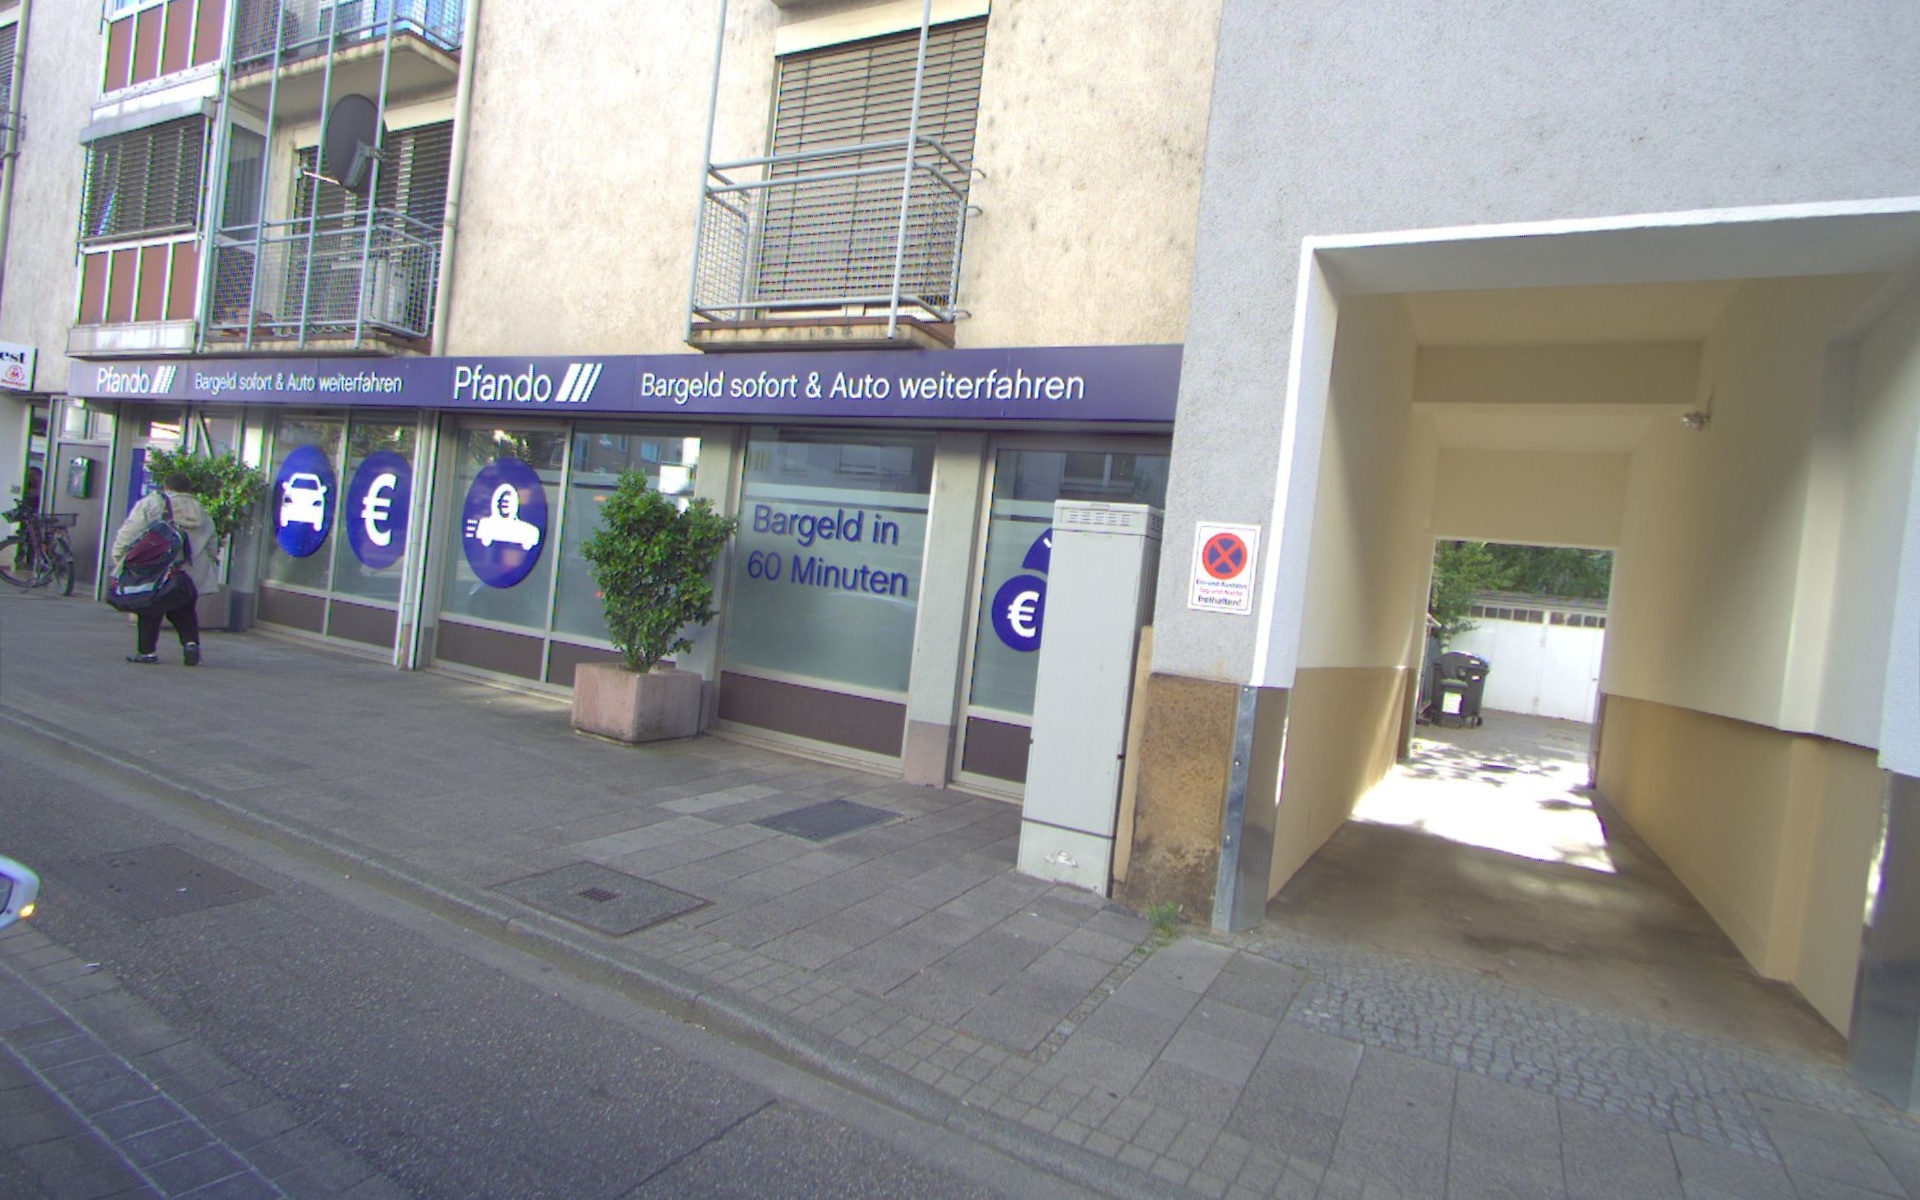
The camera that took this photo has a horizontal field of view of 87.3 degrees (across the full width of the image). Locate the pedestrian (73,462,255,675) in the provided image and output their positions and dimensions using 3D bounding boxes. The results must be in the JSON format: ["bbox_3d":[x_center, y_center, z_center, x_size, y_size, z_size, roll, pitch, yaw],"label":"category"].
[{"bbox_3d":[-6.562,-0.246,8.314,0.738,1.611,0.827,6,-1,31],"label":"pedestrian"}]

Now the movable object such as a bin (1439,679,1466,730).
[{"bbox_3d":[9.494,2.011,19.398,0.365,0.920,0.420,7,2,28],"label":"movable object such as a bin"}]

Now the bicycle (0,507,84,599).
[{"bbox_3d":[-11.886,-0.622,12.816,1.678,1.010,0.543,6,-1,32],"label":"bicycle"}]

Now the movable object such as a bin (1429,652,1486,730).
[{"bbox_3d":[9.908,1.786,20.025,0.873,1.411,0.758,7,2,28],"label":"movable object such as a bin"}]
